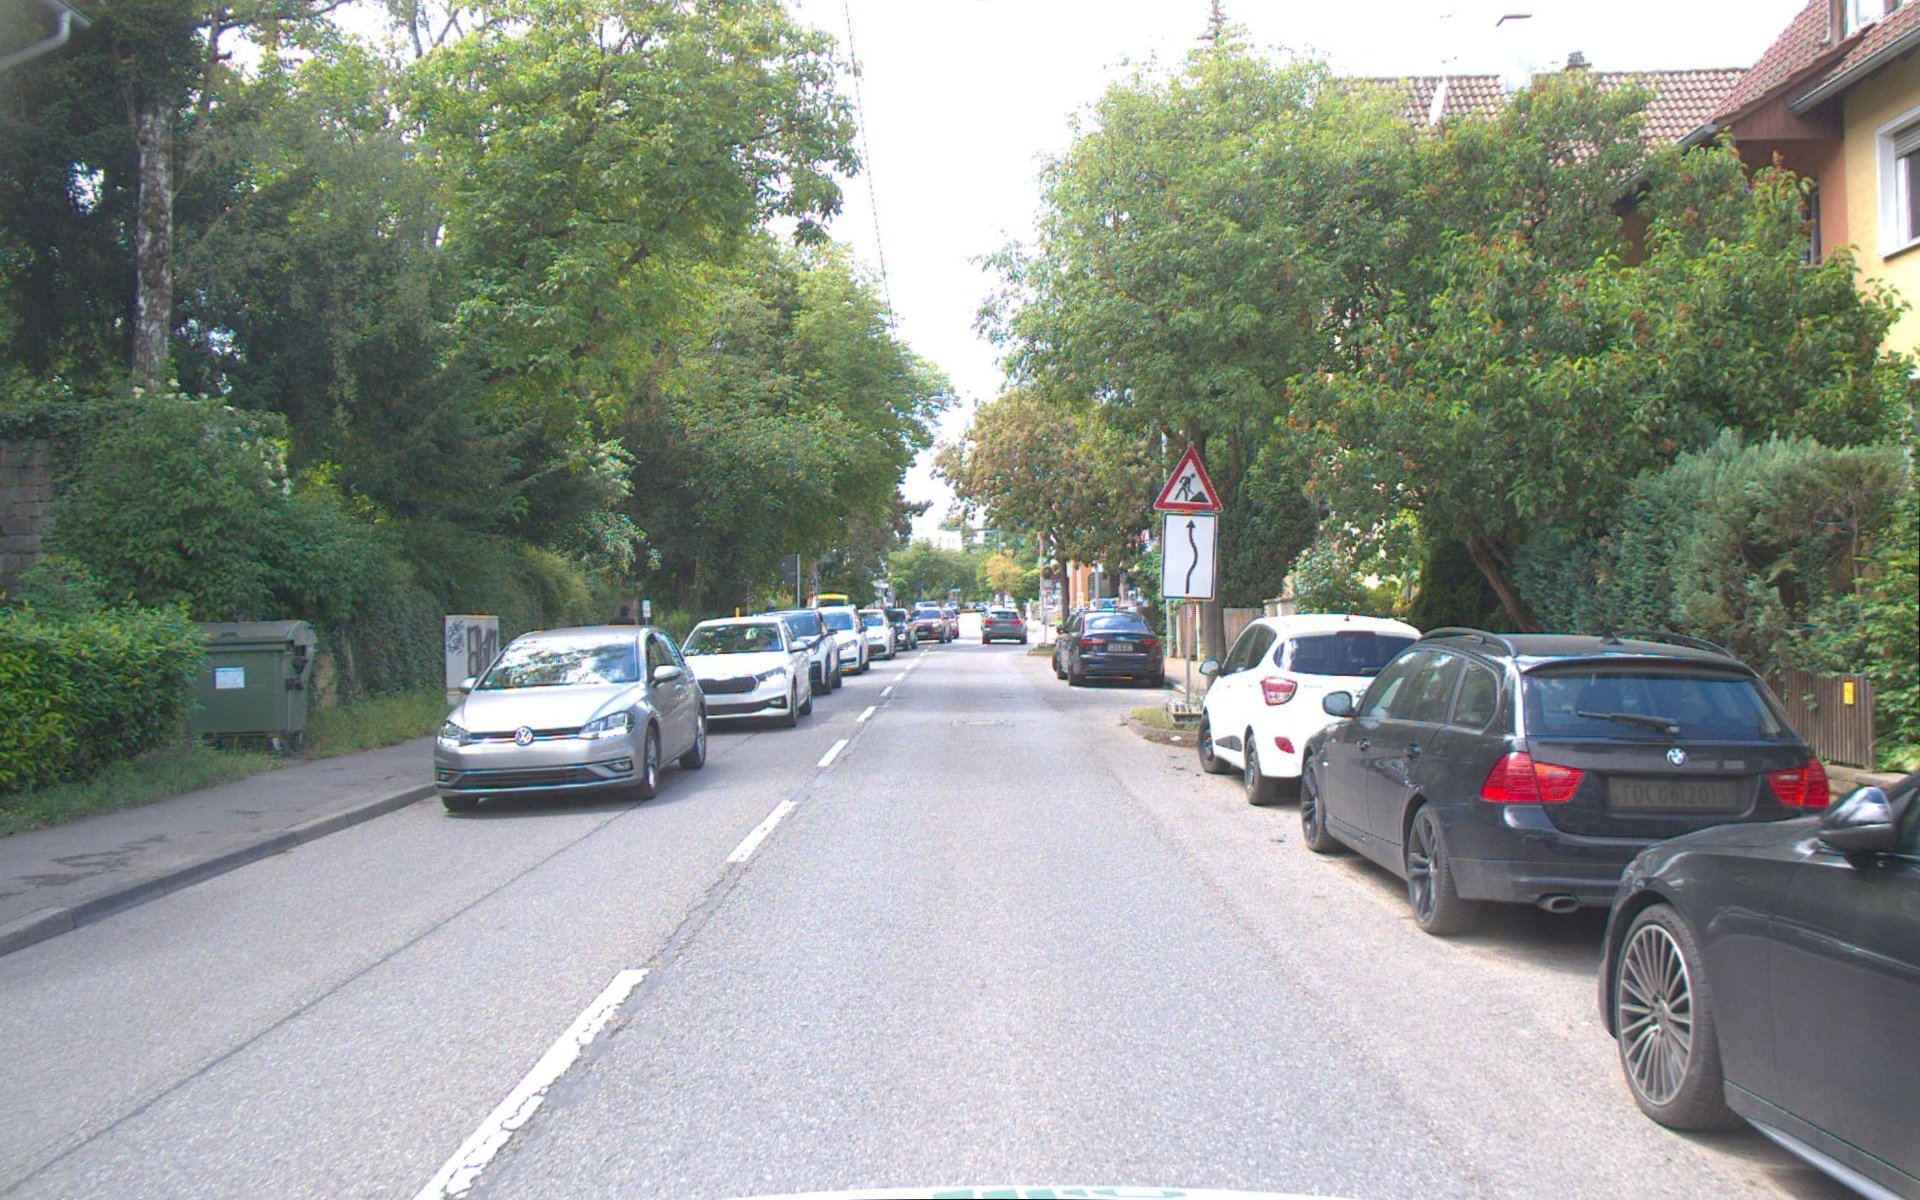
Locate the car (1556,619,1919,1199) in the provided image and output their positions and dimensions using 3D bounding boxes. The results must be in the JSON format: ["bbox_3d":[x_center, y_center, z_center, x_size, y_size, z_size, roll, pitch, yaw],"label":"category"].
[{"bbox_3d":[2.980,0.814,3.423,1.699,1.454,4.882,2,0,0],"label":"car"}]

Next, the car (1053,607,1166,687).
[{"bbox_3d":[2.959,0.905,33.682,1.765,1.470,4.885,1,0,-1],"label":"car"}]

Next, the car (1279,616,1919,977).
[{"bbox_3d":[3.167,0.845,9.220,1.952,1.448,4.589,-1,0,1],"label":"car"}]

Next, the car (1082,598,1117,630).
[{"bbox_3d":[7.941,0.791,94.426,1.747,1.663,3.694,-4,0,3],"label":"car"}]

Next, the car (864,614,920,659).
[{"bbox_3d":[-2.547,1.363,62.754,1.752,1.569,4.264,-2,0,2],"label":"car"}]

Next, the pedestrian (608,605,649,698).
[{"bbox_3d":[-6.149,0.945,30.673,0.640,1.696,0.931,-1,-1,-5],"label":"pedestrian"}]

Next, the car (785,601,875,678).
[{"bbox_3d":[-3.121,0.929,40.400,1.749,1.676,4.490,-3,0,0],"label":"car"}]

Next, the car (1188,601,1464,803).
[{"bbox_3d":[3.103,0.804,14.731,1.588,1.534,3.778,-1,0,0],"label":"car"}]

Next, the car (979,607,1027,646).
[{"bbox_3d":[1.889,1.124,70.941,1.935,1.539,4.268,2,0,2],"label":"car"}]

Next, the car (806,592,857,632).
[{"bbox_3d":[-6.818,0.680,88.323,2.101,2.015,4.932,-1,-1,2],"label":"car"}]

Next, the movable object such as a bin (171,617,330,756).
[{"bbox_3d":[-7.805,0.933,18.257,1.304,1.452,1.212,-1,-1,-6],"label":"movable object such as a bin"}]

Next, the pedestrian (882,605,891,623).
[{"bbox_3d":[-6.192,1.166,139.201,0.690,1.465,0.714,-1,-1,4],"label":"pedestrian"}]

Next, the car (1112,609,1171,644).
[{"bbox_3d":[7.108,1.018,65.014,1.689,1.339,4.265,0,0,-2],"label":"car"}]

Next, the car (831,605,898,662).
[{"bbox_3d":[-2.921,1.010,51.465,1.748,1.619,4.153,-3,0,0],"label":"car"}]

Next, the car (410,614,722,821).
[{"bbox_3d":[-3.356,0.941,14.924,1.674,1.481,4.287,-4,-1,0],"label":"car"}]

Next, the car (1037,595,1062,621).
[{"bbox_3d":[7.213,0.655,133.528,1.952,2.049,4.000,-1,-1,2],"label":"car"}]

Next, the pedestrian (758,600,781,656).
[{"bbox_3d":[-6.267,0.926,54.349,0.700,1.793,1.120,-1,-1,-5],"label":"pedestrian"}]

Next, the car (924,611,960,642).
[{"bbox_3d":[-0.886,1.331,82.591,1.656,1.450,3.438,-1,-1,2],"label":"car"}]

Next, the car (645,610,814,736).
[{"bbox_3d":[-3.061,0.928,22.723,1.724,1.464,3.970,-3,0,0],"label":"car"}]

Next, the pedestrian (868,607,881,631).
[{"bbox_3d":[-5.322,1.159,102.501,0.692,1.465,0.711,0,-1,-11],"label":"pedestrian"}]

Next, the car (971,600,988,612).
[{"bbox_3d":[2.598,0.795,222.175,2.067,1.527,4.268,-1,0,2],"label":"car"}]

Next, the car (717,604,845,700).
[{"bbox_3d":[-3.301,0.921,31.280,1.889,1.573,4.086,-4,0,0],"label":"car"}]
